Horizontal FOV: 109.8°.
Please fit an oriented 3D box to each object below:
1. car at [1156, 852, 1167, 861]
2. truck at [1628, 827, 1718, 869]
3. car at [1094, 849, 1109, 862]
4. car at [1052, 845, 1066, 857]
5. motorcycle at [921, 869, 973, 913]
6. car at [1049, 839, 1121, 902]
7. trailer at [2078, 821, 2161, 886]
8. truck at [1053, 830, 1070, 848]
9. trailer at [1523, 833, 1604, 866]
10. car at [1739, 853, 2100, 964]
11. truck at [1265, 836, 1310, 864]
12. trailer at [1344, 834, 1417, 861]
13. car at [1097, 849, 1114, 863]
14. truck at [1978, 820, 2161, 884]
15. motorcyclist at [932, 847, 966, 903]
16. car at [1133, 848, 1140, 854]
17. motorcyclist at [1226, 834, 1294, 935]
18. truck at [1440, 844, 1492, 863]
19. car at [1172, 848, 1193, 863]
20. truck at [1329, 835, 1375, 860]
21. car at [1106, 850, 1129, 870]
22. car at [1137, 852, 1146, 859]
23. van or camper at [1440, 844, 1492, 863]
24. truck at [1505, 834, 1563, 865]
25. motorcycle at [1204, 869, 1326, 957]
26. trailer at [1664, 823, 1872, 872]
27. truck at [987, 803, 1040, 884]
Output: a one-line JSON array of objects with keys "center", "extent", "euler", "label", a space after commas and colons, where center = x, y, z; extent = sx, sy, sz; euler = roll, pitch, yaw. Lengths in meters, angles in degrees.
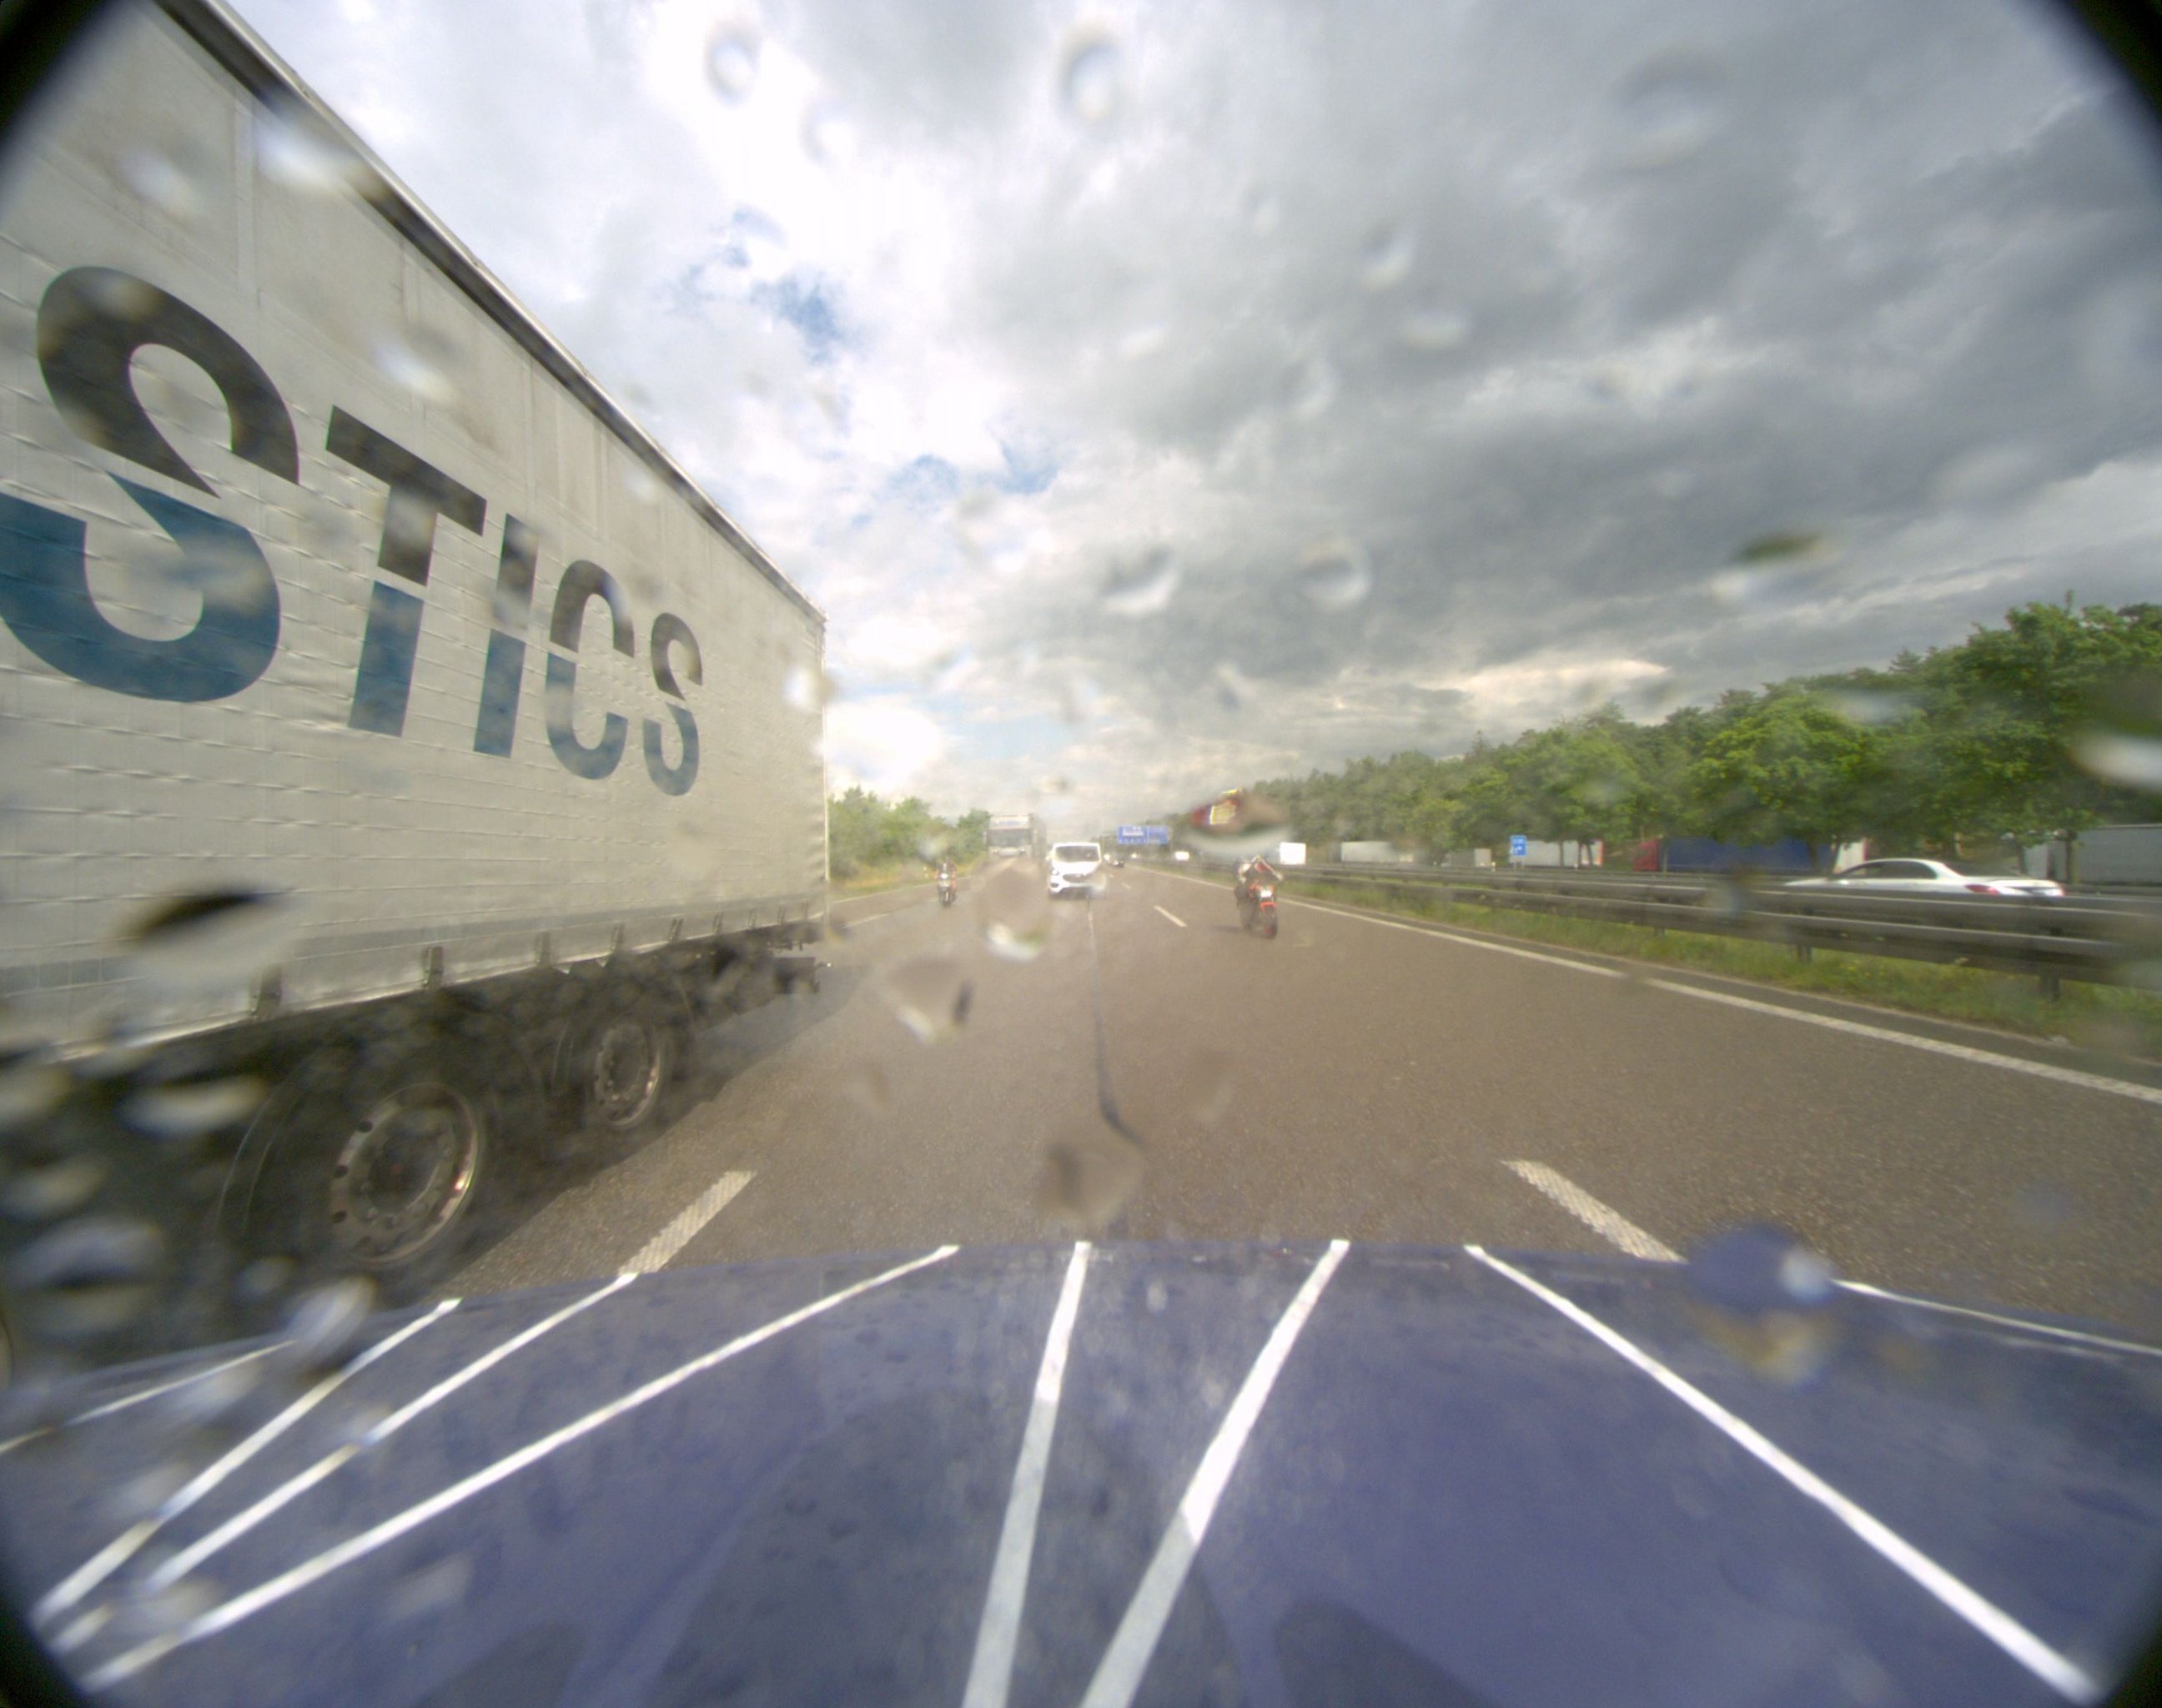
[{"center": [17.816, 0.450, 167.858], "extent": [1.835, 1.880, 4.778], "euler": [-2, 1, 0], "label": "car"}, {"center": [51.844, -0.545, 66.720], "extent": [2.869, 3.437, 5.892], "euler": [-2, 1, -7], "label": "truck"}, {"center": [3.485, 0.276, 131.899], "extent": [2.350, 2.033, 5.142], "euler": [-2, 1, 0], "label": "car"}, {"center": [-4.117, -0.598, 141.705], "extent": [2.350, 2.033, 5.142], "euler": [-2, 1, 0], "label": "car"}, {"center": [-4.191, 1.129, 24.052], "extent": [1.188, 1.142, 3.193], "euler": [-2, 1, -3], "label": "motorcycle"}, {"center": [0.130, 0.529, 27.973], "extent": [2.350, 2.033, 5.142], "euler": [-2, 1, 0], "label": "car"}, {"center": [55.161, -0.029, 34.421], "extent": [3.356, 3.198, 12.471], "euler": [-1, 0, -2], "label": "trailer"}, {"center": [-4.111, -3.105, 162.072], "extent": [3.218, 3.607, 10.152], "euler": [-2, 1, 0], "label": "truck"}, {"center": [49.873, -0.493, 78.890], "extent": [2.588, 3.214, 7.734], "euler": [-1, 1, -10], "label": "trailer"}, {"center": [17.597, 0.994, 16.508], "extent": [2.051, 1.880, 5.258], "euler": [-2, 1, 0], "label": "car"}, {"center": [21.791, -0.462, 80.630], "extent": [2.849, 2.666, 7.190], "euler": [-2, 1, 1], "label": "truck"}, {"center": [42.962, -0.943, 109.684], "extent": [3.216, 3.717, 12.553], "euler": [-1, 0, -14], "label": "trailer"}, {"center": [3.598, 0.291, 113.328], "extent": [2.350, 2.033, 5.142], "euler": [-2, 1, 0], "label": "car"}, {"center": [54.866, -0.136, 42.271], "extent": [3.362, 3.254, 5.505], "euler": [-2, 1, -3], "label": "truck"}, {"center": [-4.164, 0.640, 24.089], "extent": [0.883, 1.696, 1.000], "euler": [-2, 1, -2], "label": "motorcyclist"}, {"center": [19.253, -1.106, 263.341], "extent": [1.835, 2.033, 4.778], "euler": [-2, 1, 0], "label": "car"}, {"center": [3.129, 0.509, 13.384], "extent": [0.883, 1.696, 1.000], "euler": [-2, 1, -2], "label": "motorcyclist"}, {"center": [47.277, -0.095, 93.573], "extent": [2.126, 2.252, 6.311], "euler": [-2, 1, -13], "label": "truck"}, {"center": [13.427, 0.129, 100.582], "extent": [2.051, 1.880, 5.258], "euler": [-2, 1, 0], "label": "car"}, {"center": [41.351, -0.993, 116.065], "extent": [3.219, 3.683, 6.907], "euler": [-2, 1, -14], "label": "truck"}, {"center": [4.099, 0.655, 86.193], "extent": [2.350, 2.033, 5.142], "euler": [-2, 1, 0], "label": "car"}, {"center": [16.283, 0.462, 205.115], "extent": [1.835, 1.880, 4.778], "euler": [-2, 1, 0], "label": "car"}, {"center": [47.235, -0.093, 93.472], "extent": [2.126, 2.252, 6.316], "euler": [-2, 1, -13], "label": "van or camper"}, {"center": [49.146, -0.508, 82.629], "extent": [2.663, 3.249, 5.081], "euler": [-2, 1, -10], "label": "truck"}, {"center": [3.115, 0.935, 13.350], "extent": [1.188, 1.219, 3.193], "euler": [-2, 1, -3], "label": "motorcycle"}, {"center": [52.715, -0.515, 59.286], "extent": [2.832, 3.385, 13.417], "euler": [-1, 0, -7], "label": "trailer"}, {"center": [-3.777, -0.608, 43.934], "extent": [2.650, 4.250, 6.882], "euler": [-2, 1, -3], "label": "truck"}]
